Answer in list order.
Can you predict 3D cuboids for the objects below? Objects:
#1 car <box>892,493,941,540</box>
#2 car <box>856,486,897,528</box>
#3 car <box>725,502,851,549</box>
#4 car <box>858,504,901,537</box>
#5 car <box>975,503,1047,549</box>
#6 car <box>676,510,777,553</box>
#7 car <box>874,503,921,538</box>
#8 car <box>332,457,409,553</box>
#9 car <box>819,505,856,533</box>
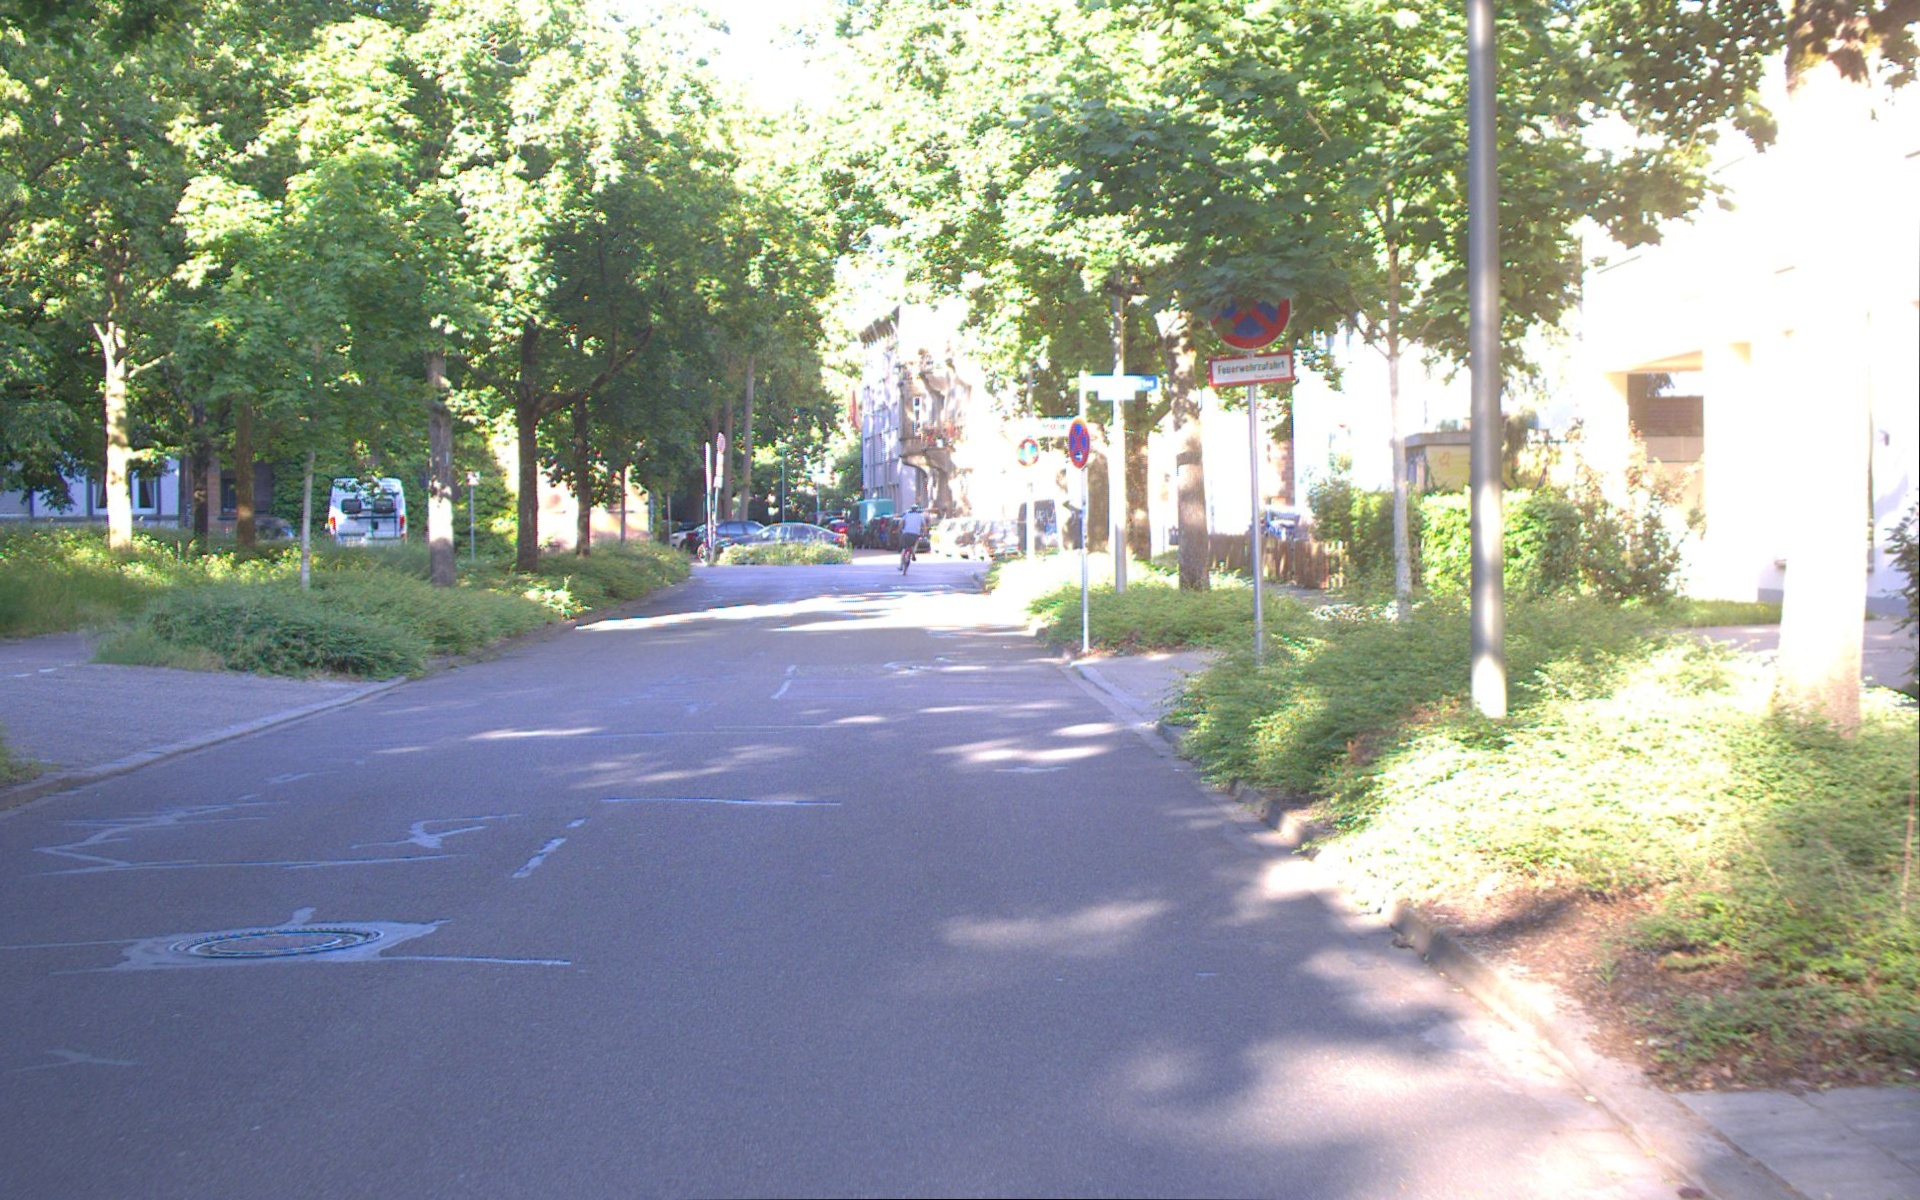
[{"bbox_3d":[-1.846,-3.534,145.070,1.811,1.919,4.001,1,2,-4],"label":"car"},{"bbox_3d":[-4.140,-4.604,169.916,1.811,2.043,4.001,1,2,-4],"label":"car"},{"bbox_3d":[-5.721,-2.476,114.097,3.986,1.496,1.818,0,2,-8],"label":"car"},{"bbox_3d":[-3.749,-3.701,159.735,1.811,1.496,4.001,1,2,-4],"label":"car"},{"bbox_3d":[1.723,-2.531,116.452,1.811,1.496,4.001,-1,2,-8],"label":"car"},{"bbox_3d":[-8.613,-2.526,126.477,3.586,1.505,1.500,0,2,-8],"label":"car"},{"bbox_3d":[-2.799,-3.539,153.206,1.811,1.496,4.001,1,2,-4],"label":"car"},{"bbox_3d":[-15.905,-2.560,92.836,1.993,2.499,4.001,0,1,-9],"label":"car"},{"bbox_3d":[-6.676,-4.394,186.885,1.811,1.496,4.001,1,2,-4],"label":"car"}]
